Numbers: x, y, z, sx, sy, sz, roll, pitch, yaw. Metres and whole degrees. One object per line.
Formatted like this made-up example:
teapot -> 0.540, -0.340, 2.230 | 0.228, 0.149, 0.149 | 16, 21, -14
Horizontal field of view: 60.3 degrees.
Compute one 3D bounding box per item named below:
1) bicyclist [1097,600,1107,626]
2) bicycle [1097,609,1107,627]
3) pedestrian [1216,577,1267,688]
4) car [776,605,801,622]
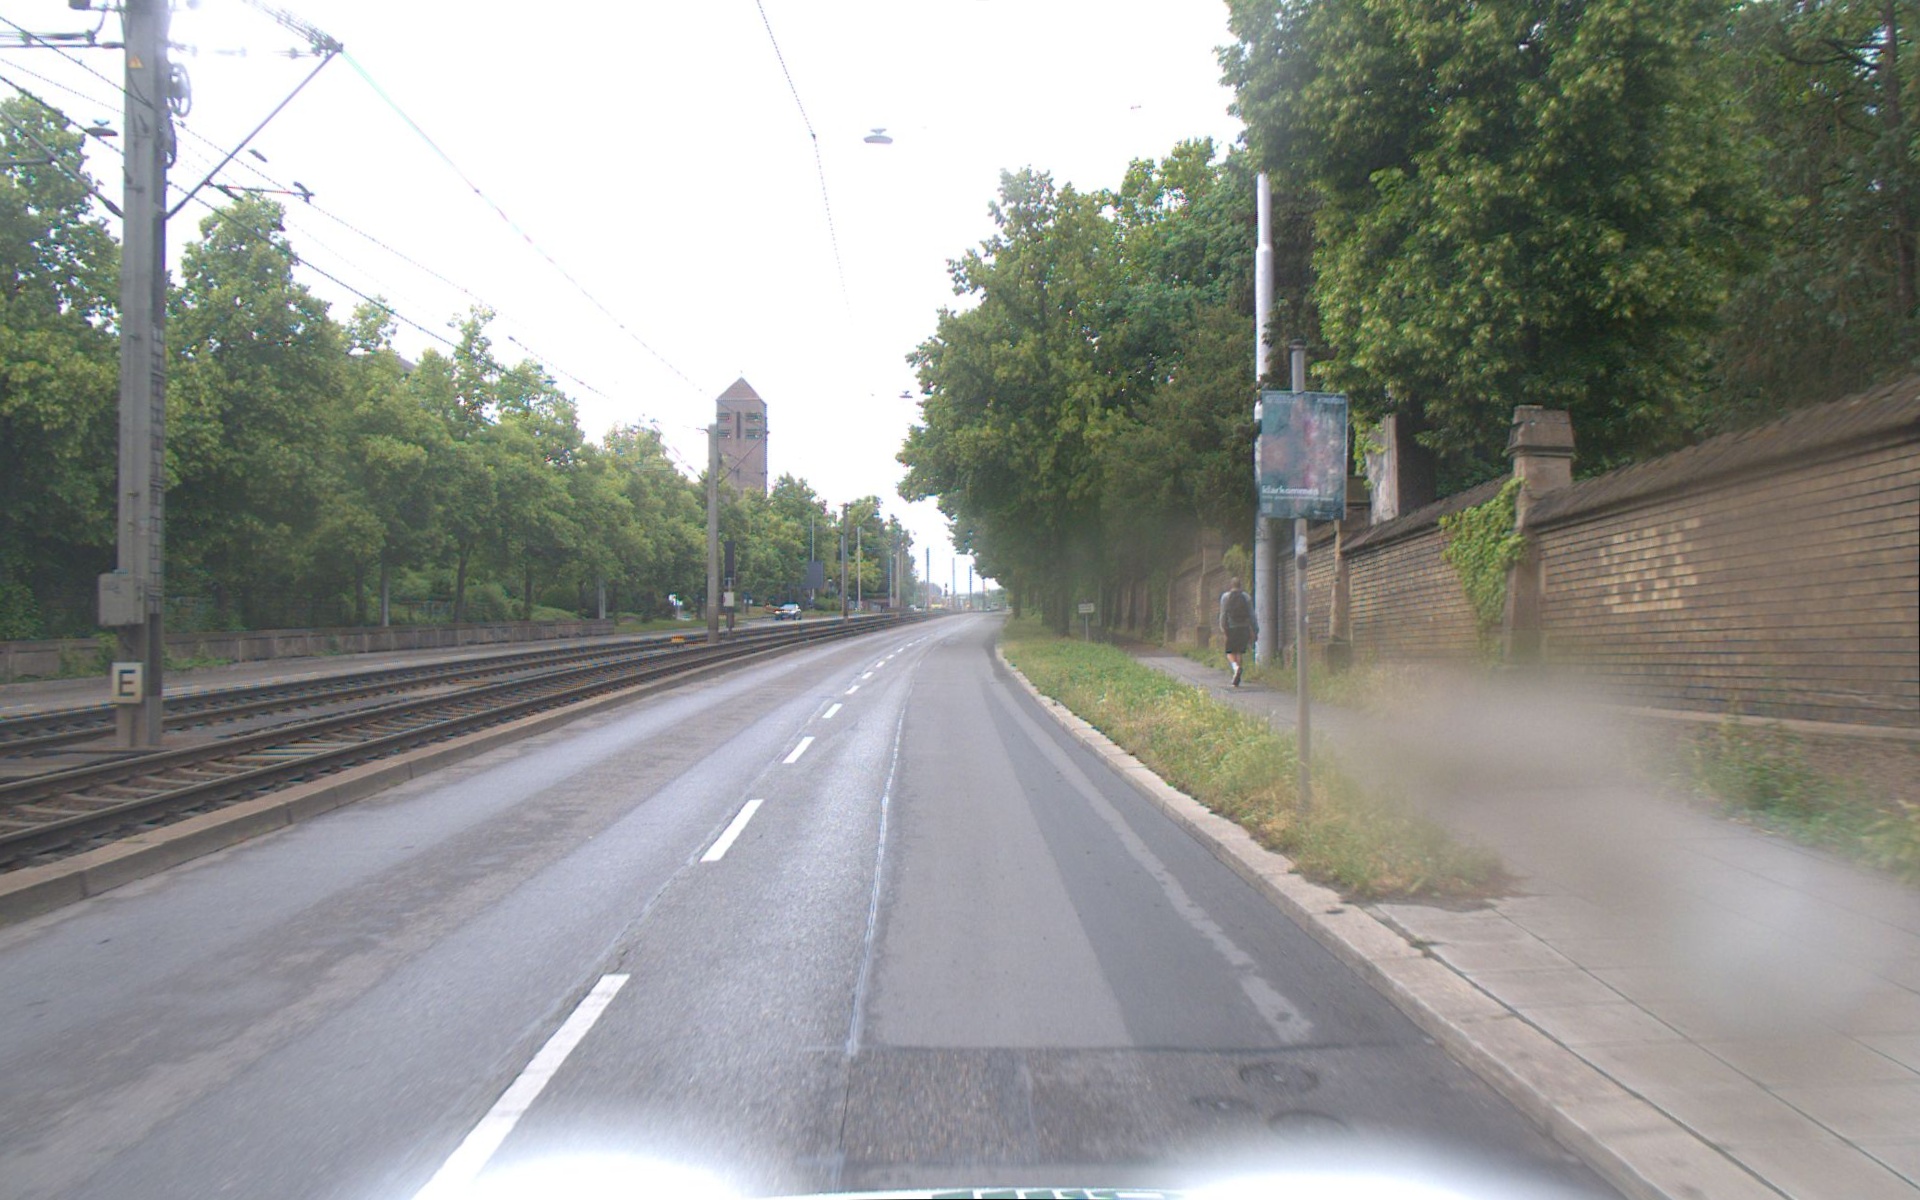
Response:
bicyclist -> 7.753, 0.722, 90.361 | 0.523, 1.414, 0.667 | -1, -1, 5
bicycle -> 7.790, 0.977, 90.703 | 0.531, 0.964, 2.551 | -1, 0, 5
pedestrian -> 4.658, 0.525, 27.411 | 0.694, 1.810, 0.901 | 0, 0, -1
car -> -16.149, 1.292, 155.844 | 1.757, 1.557, 4.622 | 0, 0, 1
